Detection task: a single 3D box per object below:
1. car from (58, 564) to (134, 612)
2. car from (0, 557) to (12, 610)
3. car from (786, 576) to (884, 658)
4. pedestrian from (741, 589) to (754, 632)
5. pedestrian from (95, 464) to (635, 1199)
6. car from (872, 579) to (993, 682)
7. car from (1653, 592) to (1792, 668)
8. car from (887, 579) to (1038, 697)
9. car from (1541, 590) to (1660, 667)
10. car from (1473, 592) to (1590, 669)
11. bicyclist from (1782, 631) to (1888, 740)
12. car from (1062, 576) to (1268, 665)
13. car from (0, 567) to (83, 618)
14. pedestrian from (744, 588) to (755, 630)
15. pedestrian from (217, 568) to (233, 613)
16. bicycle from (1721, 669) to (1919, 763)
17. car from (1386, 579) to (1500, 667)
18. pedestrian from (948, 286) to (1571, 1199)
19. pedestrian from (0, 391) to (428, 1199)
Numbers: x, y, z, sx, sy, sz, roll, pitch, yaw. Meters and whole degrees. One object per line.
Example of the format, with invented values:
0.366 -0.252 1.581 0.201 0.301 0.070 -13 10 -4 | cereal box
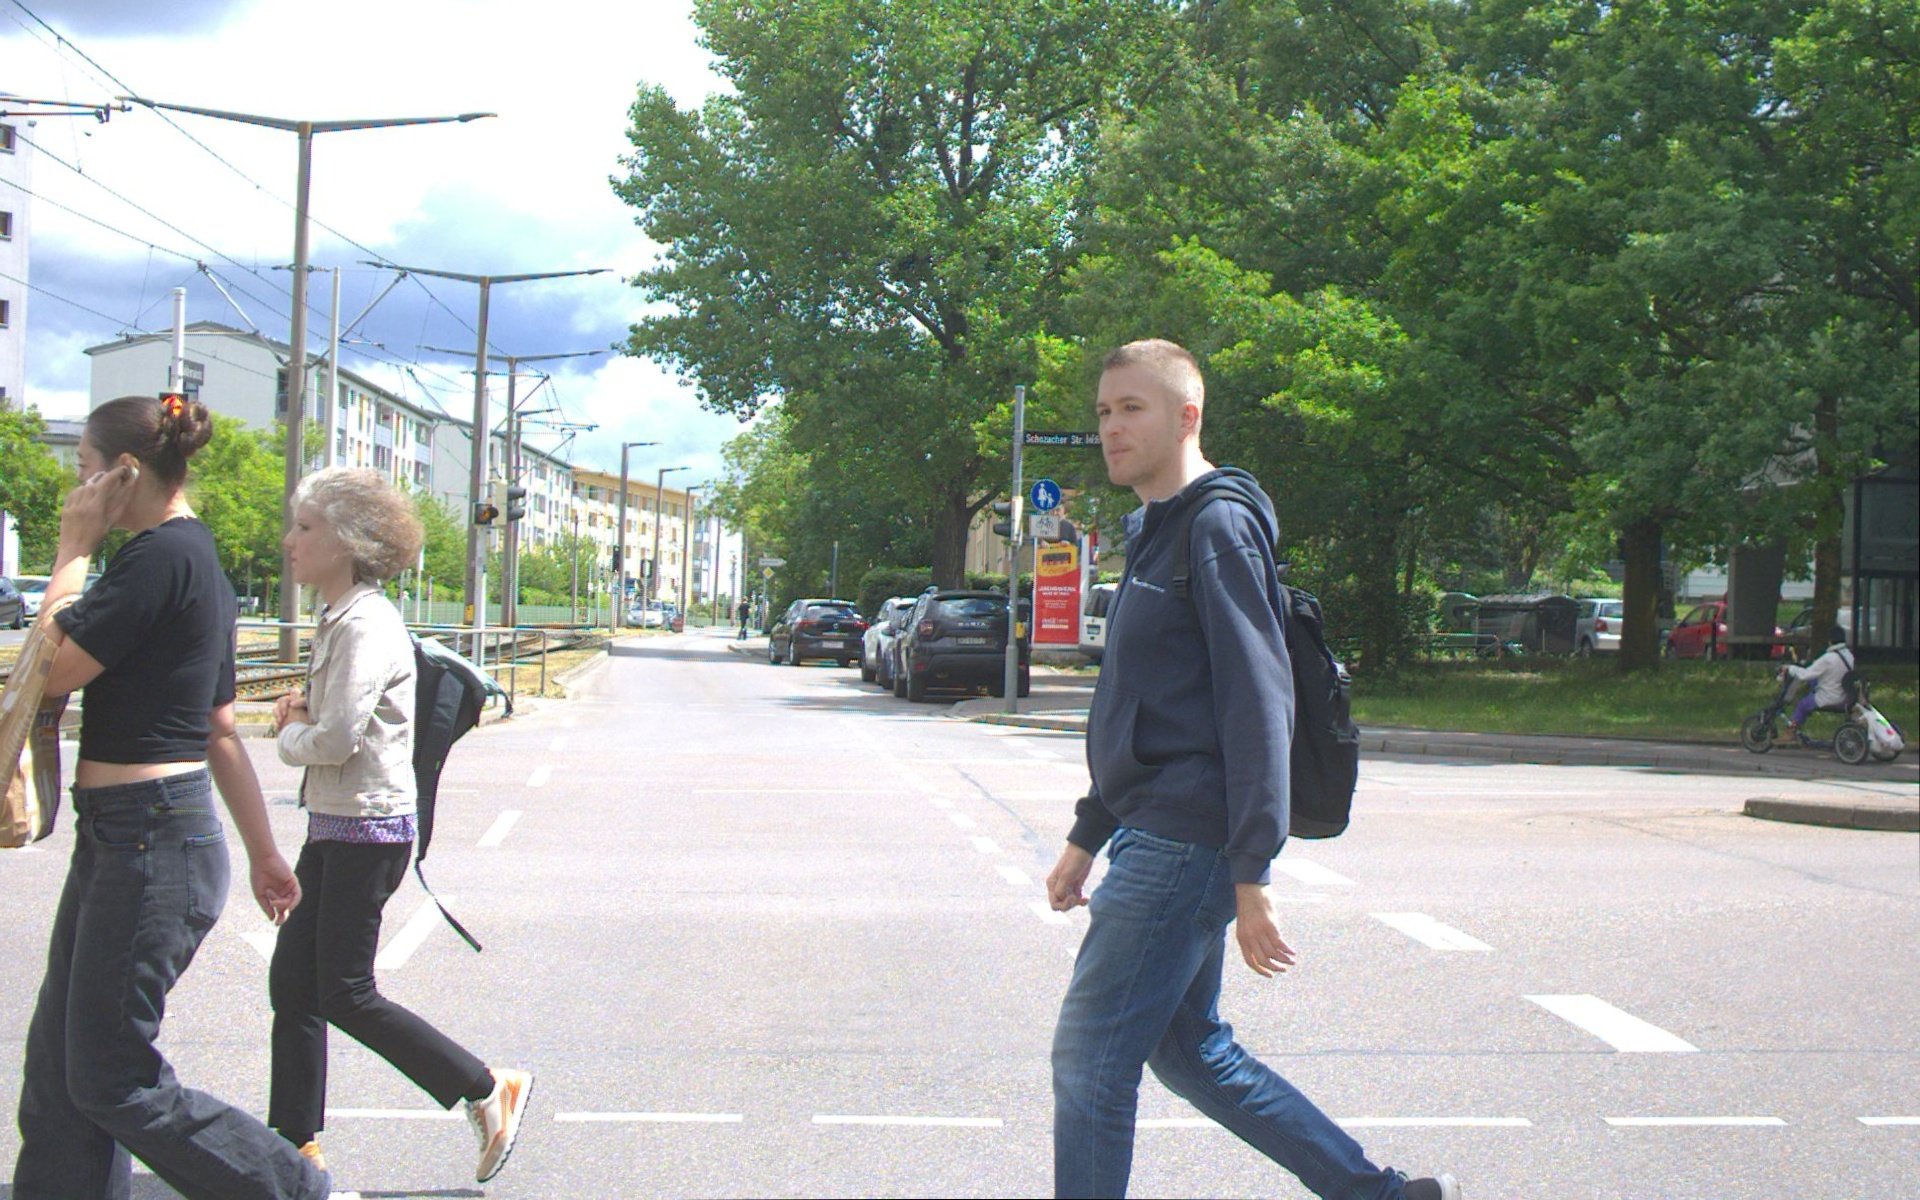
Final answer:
-26.371 -0.377 105.024 1.760 1.390 4.001 1 1 -7 | car
-26.299 -0.441 91.021 1.760 1.390 4.001 1 1 -7 | car
-2.673 0.341 74.565 1.993 1.678 4.000 1 1 -1 | car
-8.219 0.395 133.022 0.478 1.631 0.454 1 1 -1 | pedestrian
-1.351 0.537 7.950 0.953 1.668 0.870 0 0 15 | pedestrian
-0.472 0.520 59.250 1.993 1.678 4.000 1 0 -1 | car
17.053 0.652 77.023 1.730 1.589 4.001 1 1 -8 | car
0.017 0.557 51.804 2.152 1.678 4.000 1 0 -1 | car
14.221 0.611 76.512 1.630 1.589 4.001 1 1 -4 | car
12.471 0.643 75.216 1.630 1.567 4.033 1 1 -4 | car
8.511 0.826 33.437 0.792 1.019 0.636 1 1 -42 | bicyclist
4.365 0.445 73.327 3.986 1.817 1.779 1 1 -23 | car
-26.301 -0.234 98.487 1.760 1.390 4.001 1 1 -7 | car
-8.152 0.355 133.030 0.333 1.622 0.358 1 1 -18 | pedestrian
-26.929 -0.337 125.916 0.452 1.631 0.480 1 1 -2 | pedestrian
8.422 1.117 33.560 0.792 0.816 1.807 1 1 -41 | bicycle
10.466 0.477 74.714 1.630 1.804 4.033 1 1 -4 | car
0.510 0.438 6.314 0.966 1.935 0.897 1 1 -5 | pedestrian
-1.499 0.513 6.412 0.933 1.759 0.772 1 1 -12 | pedestrian
